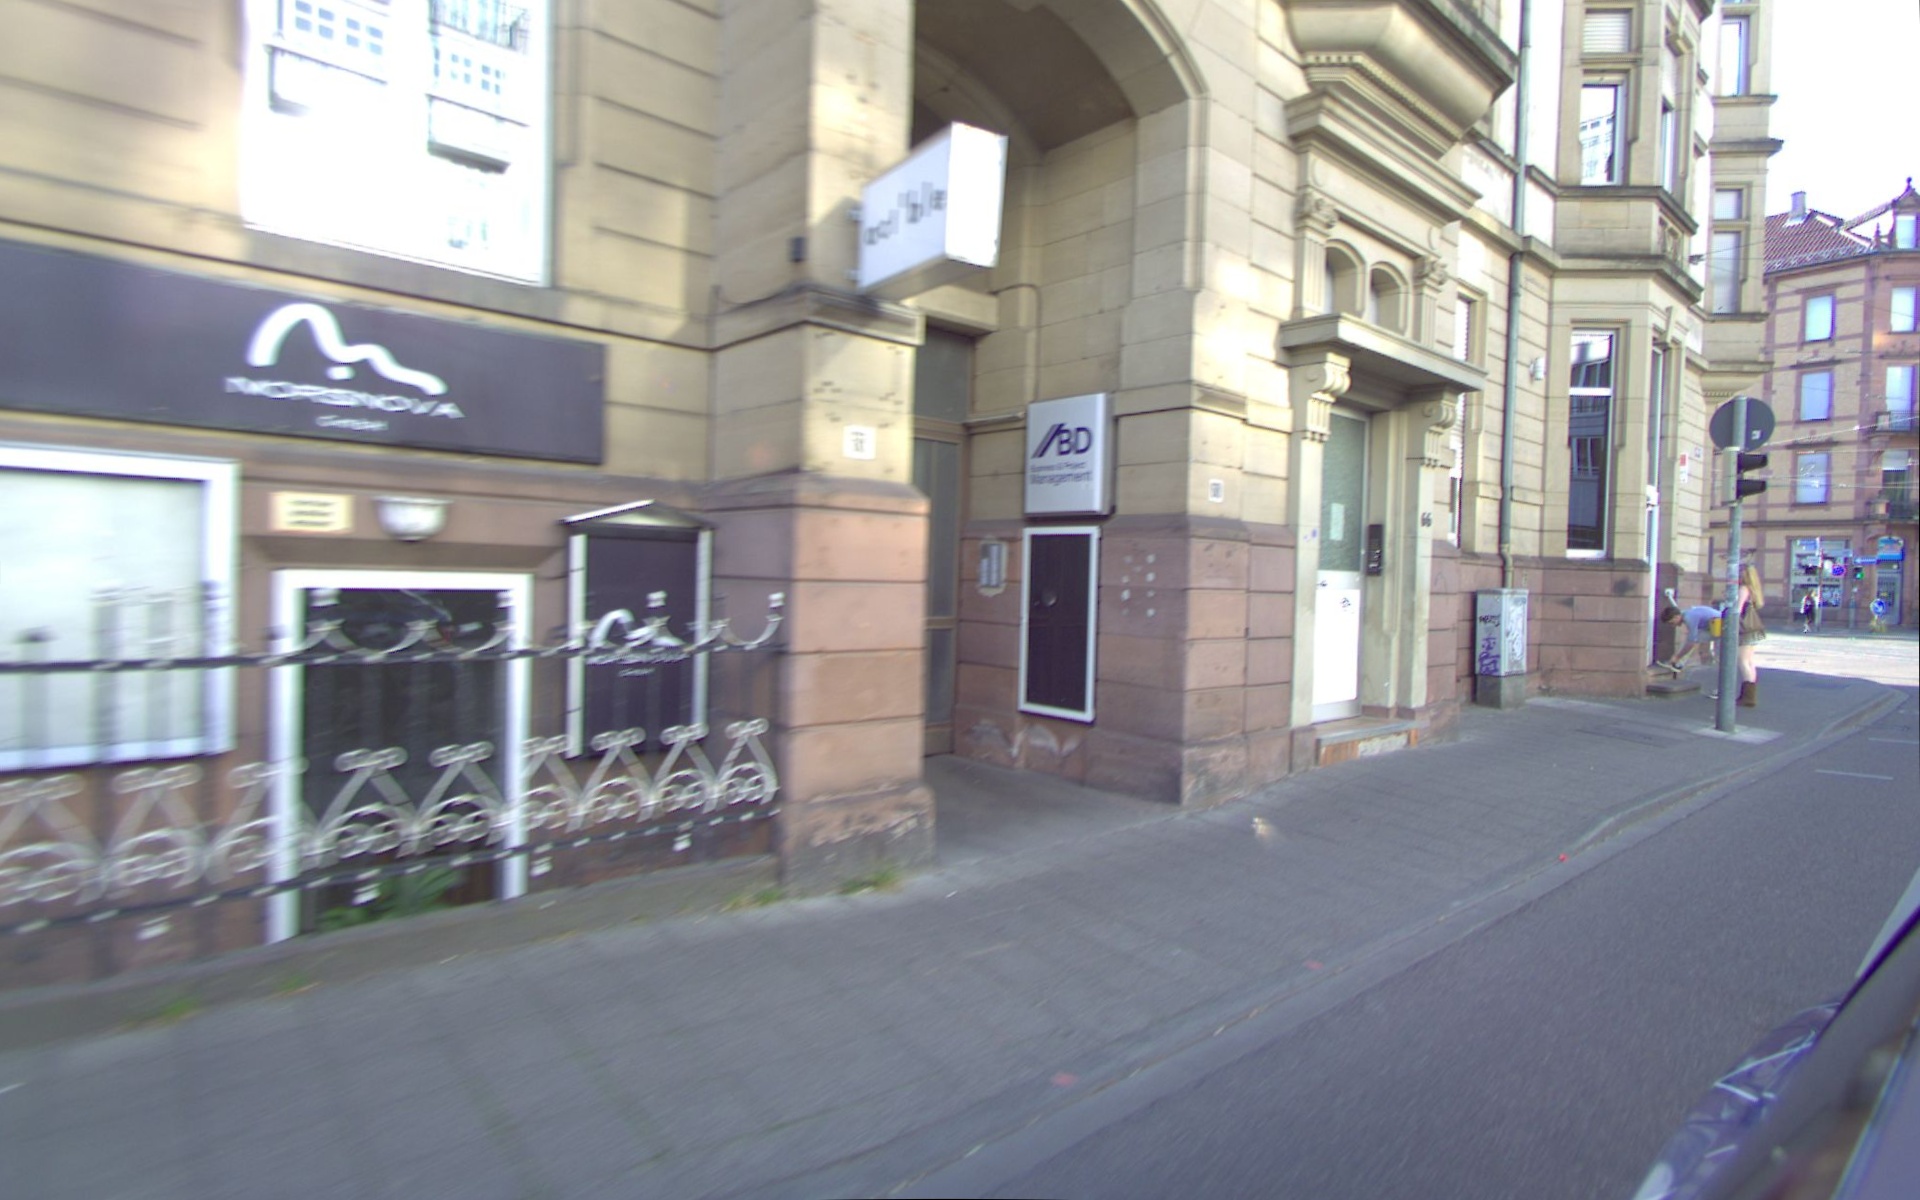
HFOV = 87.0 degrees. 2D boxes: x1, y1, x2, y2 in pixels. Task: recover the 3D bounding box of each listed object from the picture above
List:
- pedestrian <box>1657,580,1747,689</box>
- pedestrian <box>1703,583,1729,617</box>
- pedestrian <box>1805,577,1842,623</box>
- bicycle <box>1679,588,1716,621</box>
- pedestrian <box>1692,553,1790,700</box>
[{"bbox_3d":[9.839,0.432,13.420,0.707,1.347,0.795,-2,4,-42],"label":"pedestrian"},{"bbox_3d":[36.800,-0.017,49.260,0.749,1.589,0.745,-5,3,-34],"label":"pedestrian"},{"bbox_3d":[35.155,-0.023,41.191,1.065,1.829,1.024,0,1,-44],"label":"pedestrian"},{"bbox_3d":[31.636,0.191,43.431,1.800,1.279,0.756,4,-1,-37],"label":"bicycle"},{"bbox_3d":[9.709,0.288,12.588,0.707,1.742,0.795,-2,4,-42],"label":"pedestrian"}]
